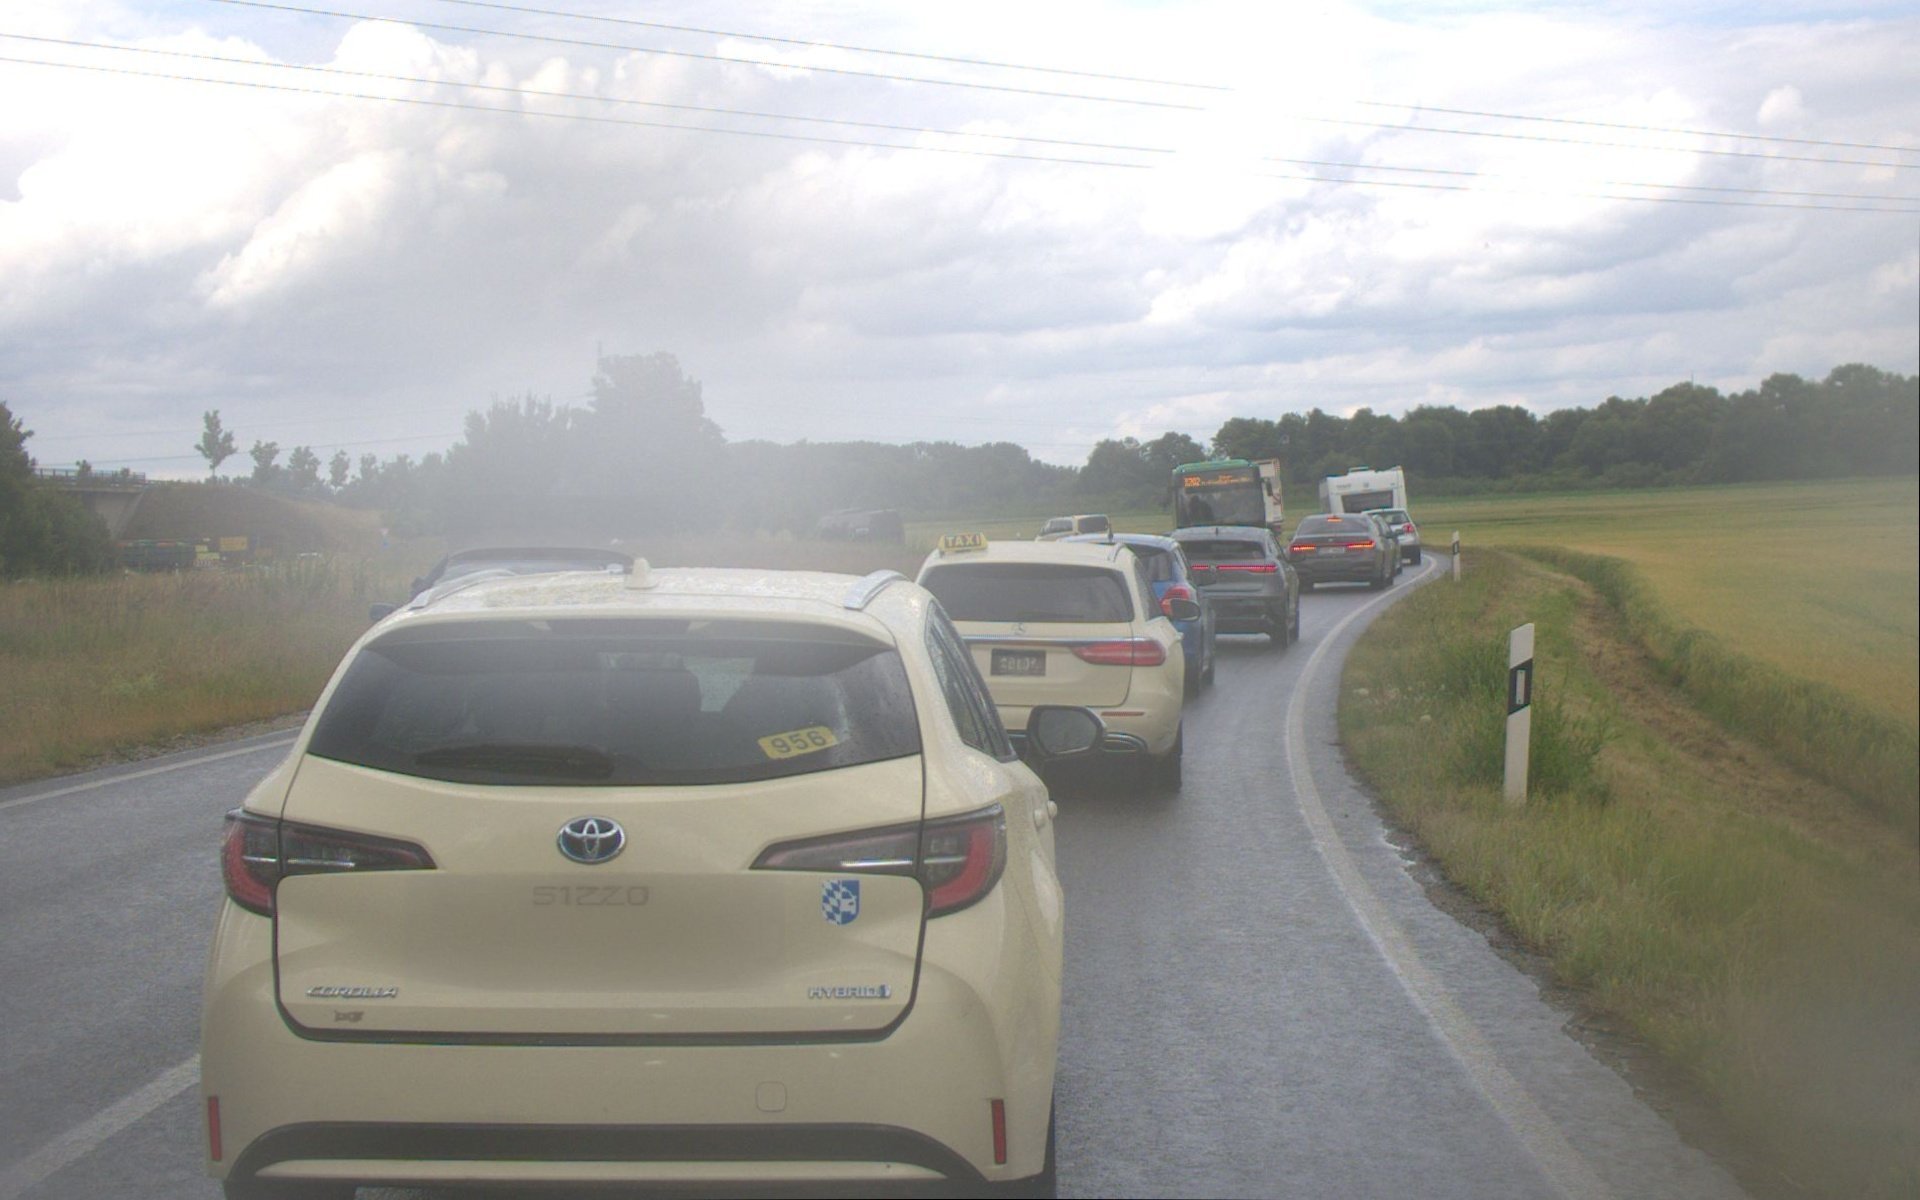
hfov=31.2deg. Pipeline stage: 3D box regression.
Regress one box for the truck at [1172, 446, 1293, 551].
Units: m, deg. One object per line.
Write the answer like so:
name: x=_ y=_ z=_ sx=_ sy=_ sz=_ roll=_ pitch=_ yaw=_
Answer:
truck: x=10.532 y=-3.881 z=133.550 sx=3.126 sy=3.839 sz=7.388 roll=0 pitch=0 yaw=-8

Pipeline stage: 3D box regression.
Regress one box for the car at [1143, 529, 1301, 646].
car: x=3.349 y=-0.162 z=43.411 sx=1.613 sy=1.408 sz=3.737 roll=0 pitch=0 yaw=10

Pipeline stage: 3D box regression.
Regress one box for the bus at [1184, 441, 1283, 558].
bus: x=8.144 y=-2.977 z=103.171 sx=2.758 sy=3.286 sz=12.501 roll=0 pitch=1 yaw=4

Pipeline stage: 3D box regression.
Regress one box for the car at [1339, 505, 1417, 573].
car: x=10.894 y=-1.580 z=89.822 sx=1.960 sy=1.723 sz=3.737 roll=0 pitch=0 yaw=6

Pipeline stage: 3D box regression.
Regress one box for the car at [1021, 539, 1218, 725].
car: x=1.564 y=0.277 z=32.604 sx=1.613 sy=1.653 sz=3.737 roll=0 pitch=0 yaw=6

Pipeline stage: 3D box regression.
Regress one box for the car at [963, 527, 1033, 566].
car: x=1.828 y=-2.575 z=167.408 sx=1.840 sy=1.852 sz=4.090 roll=0 pitch=0 yaw=-24

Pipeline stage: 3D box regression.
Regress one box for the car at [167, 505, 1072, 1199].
car: x=-0.571 y=0.602 z=8.176 sx=1.613 sy=1.557 sz=3.738 roll=0 pitch=0 yaw=3

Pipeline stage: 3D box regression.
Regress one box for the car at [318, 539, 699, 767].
car: x=-2.959 y=0.319 z=23.391 sx=1.630 sy=1.392 sz=4.319 roll=0 pitch=0 yaw=6

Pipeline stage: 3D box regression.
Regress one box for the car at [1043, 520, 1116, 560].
car: x=5.322 y=-2.677 z=154.064 sx=1.882 sy=1.767 sz=4.161 roll=0 pitch=0 yaw=-19

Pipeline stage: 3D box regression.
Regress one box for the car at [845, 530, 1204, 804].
car: x=0.516 y=0.320 z=21.356 sx=1.841 sy=1.487 sz=4.607 roll=0 pitch=1 yaw=6

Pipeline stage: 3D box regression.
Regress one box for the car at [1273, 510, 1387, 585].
car: x=7.324 y=-1.020 z=67.765 sx=1.960 sy=1.408 sz=4.390 roll=0 pitch=0 yaw=10

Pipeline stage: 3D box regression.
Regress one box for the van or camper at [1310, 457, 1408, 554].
van or camper: x=12.192 y=-2.897 z=105.524 sx=2.537 sy=2.886 sz=6.742 roll=0 pitch=1 yaw=3
